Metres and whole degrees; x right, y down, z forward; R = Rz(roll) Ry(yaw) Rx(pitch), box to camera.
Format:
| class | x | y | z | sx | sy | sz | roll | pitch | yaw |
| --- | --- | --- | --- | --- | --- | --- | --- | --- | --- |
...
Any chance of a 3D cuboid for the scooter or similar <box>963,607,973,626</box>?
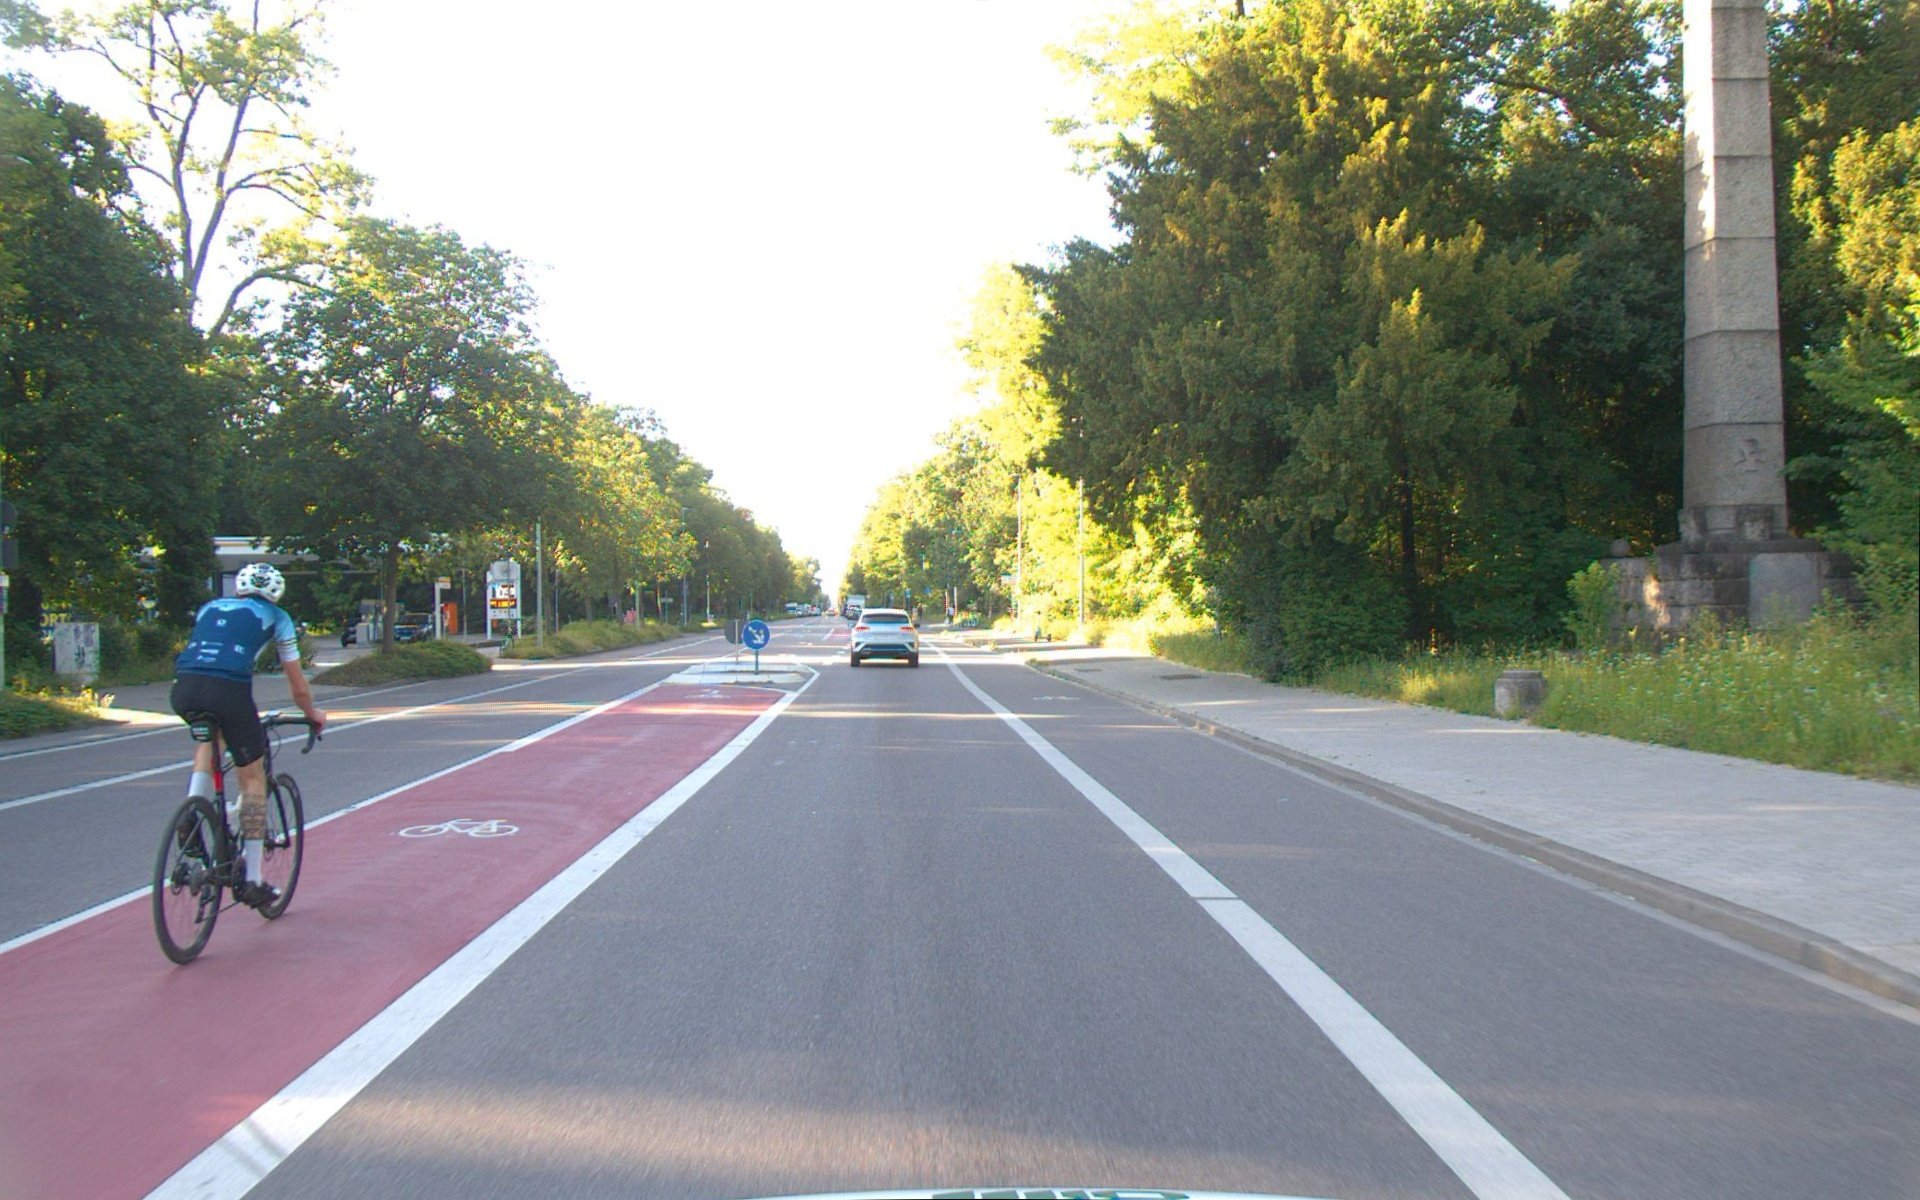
| class | x | y | z | sx | sy | sz | roll | pitch | yaw |
| --- | --- | --- | --- | --- | --- | --- | --- | --- | --- |
| scooter or similar | 0.597 | 1.234 | 123.809 | 0.668 | 1.448 | 1.680 | -1 | 0 | -4 |

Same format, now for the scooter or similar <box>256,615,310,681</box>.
| class | x | y | z | sx | sy | sz | roll | pitch | yaw |
| --- | --- | --- | --- | --- | --- | --- | --- | --- | --- |
| scooter or similar | -18.412 | 1.286 | 45.014 | 0.811 | 1.747 | 1.740 | -1 | 0 | -3 |

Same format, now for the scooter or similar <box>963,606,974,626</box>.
| class | x | y | z | sx | sy | sz | roll | pitch | yaw |
| --- | --- | --- | --- | --- | --- | --- | --- | --- | --- |
| scooter or similar | 0.647 | 1.175 | 120.755 | 0.668 | 1.448 | 1.680 | -1 | 0 | -4 |

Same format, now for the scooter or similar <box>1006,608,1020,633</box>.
| class | x | y | z | sx | sy | sz | roll | pitch | yaw |
| --- | --- | --- | --- | --- | --- | --- | --- | --- | --- |
| scooter or similar | 2.760 | 1.054 | 86.063 | 0.522 | 1.272 | 1.540 | -1 | 0 | -4 |

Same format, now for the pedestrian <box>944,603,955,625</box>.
| class | x | y | z | sx | sy | sz | roll | pitch | yaw |
| --- | --- | --- | --- | --- | --- | --- | --- | --- | --- |
| pedestrian | -0.788 | 1.010 | 122.258 | 0.739 | 1.591 | 0.802 | -2 | 0 | 1 |

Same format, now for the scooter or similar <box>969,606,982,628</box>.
| class | x | y | z | sx | sy | sz | roll | pitch | yaw |
| --- | --- | --- | --- | --- | --- | --- | --- | --- | --- |
| scooter or similar | 1.051 | 1.140 | 111.754 | 0.668 | 1.448 | 1.680 | -1 | 0 | -4 |

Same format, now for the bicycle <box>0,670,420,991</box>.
| class | x | y | z | sx | sy | sz | roll | pitch | yaw |
| --- | --- | --- | --- | --- | --- | --- | --- | --- | --- |
| bicycle | -3.195 | 0.910 | 7.288 | 0.872 | 1.114 | 2.136 | 0 | 0 | 2 |

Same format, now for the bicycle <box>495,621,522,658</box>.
| class | x | y | z | sx | sy | sz | roll | pitch | yaw |
| --- | --- | --- | --- | --- | --- | --- | --- | --- | --- |
| bicycle | -16.109 | 1.409 | 59.001 | 0.642 | 1.272 | 2.155 | -1 | 0 | -9 |

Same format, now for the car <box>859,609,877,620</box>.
| class | x | y | z | sx | sy | sz | roll | pitch | yaw |
| --- | --- | --- | --- | --- | --- | --- | --- | --- | --- |
| car | -11.674 | 1.858 | 209.146 | 1.956 | 1.350 | 3.993 | -1 | 0 | -7 |

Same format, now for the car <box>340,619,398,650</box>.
| class | x | y | z | sx | sy | sz | roll | pitch | yaw |
| --- | --- | --- | --- | --- | --- | --- | --- | --- | --- |
| car | -31.039 | 1.788 | 87.005 | 1.677 | 1.524 | 4.573 | -1 | 0 | -4 |

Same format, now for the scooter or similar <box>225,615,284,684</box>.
| class | x | y | z | sx | sy | sz | roll | pitch | yaw |
| --- | --- | --- | --- | --- | --- | --- | --- | --- | --- |
| scooter or similar | -18.354 | 1.266 | 43.072 | 0.811 | 1.747 | 1.740 | -1 | 0 | -3 |

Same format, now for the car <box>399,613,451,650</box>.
| class | x | y | z | sx | sy | sz | roll | pitch | yaw |
| --- | --- | --- | --- | --- | --- | --- | --- | --- | --- |
| car | -26.706 | 1.544 | 82.665 | 1.678 | 1.721 | 4.446 | -1 | 0 | -8 |

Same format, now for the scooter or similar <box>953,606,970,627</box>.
| class | x | y | z | sx | sy | sz | roll | pitch | yaw |
| --- | --- | --- | --- | --- | --- | --- | --- | --- | --- |
| scooter or similar | 0.102 | 1.189 | 119.404 | 0.672 | 1.448 | 1.672 | -1 | 0 | -19 |

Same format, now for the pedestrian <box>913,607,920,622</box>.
| class | x | y | z | sx | sy | sz | roll | pitch | yaw |
| --- | --- | --- | --- | --- | --- | --- | --- | --- | --- |
| pedestrian | -4.690 | 1.559 | 178.648 | 0.685 | 1.682 | 0.875 | -1 | 0 | -5 |

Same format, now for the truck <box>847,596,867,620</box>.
| class | x | y | z | sx | sy | sz | roll | pitch | yaw |
| --- | --- | --- | --- | --- | --- | --- | --- | --- | --- |
| truck | -15.772 | 1.253 | 252.697 | 2.745 | 3.632 | 8.025 | 0 | 0 | -5 |

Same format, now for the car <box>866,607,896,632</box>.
| class | x | y | z | sx | sy | sz | roll | pitch | yaw |
| --- | --- | --- | --- | --- | --- | --- | --- | --- | --- |
| car | -5.258 | 1.289 | 109.654 | 1.954 | 1.545 | 3.997 | -1 | 0 | -3 |

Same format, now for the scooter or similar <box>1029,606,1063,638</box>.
| class | x | y | z | sx | sy | sz | roll | pitch | yaw |
| --- | --- | --- | --- | --- | --- | --- | --- | --- | --- |
| scooter or similar | 3.559 | 0.888 | 68.238 | 0.525 | 1.272 | 1.531 | -2 | 0 | 43 |

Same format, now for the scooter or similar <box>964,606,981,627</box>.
| class | x | y | z | sx | sy | sz | roll | pitch | yaw |
| --- | --- | --- | --- | --- | --- | --- | --- | --- | --- |
| scooter or similar | 0.859 | 1.155 | 115.699 | 0.671 | 1.448 | 1.673 | -1 | 0 | -17 |

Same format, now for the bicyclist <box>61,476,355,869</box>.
| class | x | y | z | sx | sy | sz | roll | pitch | yaw |
| --- | --- | --- | --- | --- | --- | --- | --- | --- | --- |
| bicyclist | -3.221 | 0.292 | 7.170 | 0.842 | 1.594 | 0.881 | 0 | 0 | 1 |

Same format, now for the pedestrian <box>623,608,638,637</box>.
| class | x | y | z | sx | sy | sz | roll | pitch | yaw |
| --- | --- | --- | --- | --- | --- | --- | --- | --- | --- |
| pedestrian | -23.280 | 1.574 | 116.788 | 0.702 | 2.049 | 0.746 | -2 | 0 | 25 |

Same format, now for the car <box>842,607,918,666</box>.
| class | x | y | z | sx | sy | sz | roll | pitch | yaw |
| --- | --- | --- | --- | --- | --- | --- | --- | --- | --- |
| car | -2.179 | 0.949 | 44.218 | 1.728 | 1.485 | 3.811 | 1 | 0 | -7 |

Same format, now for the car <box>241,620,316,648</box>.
| class | x | y | z | sx | sy | sz | roll | pitch | yaw |
| --- | --- | --- | --- | --- | --- | --- | --- | --- | --- |
| car | -42.071 | 2.076 | 102.122 | 3.913 | 1.582 | 1.895 | -1 | 0 | -9 |
